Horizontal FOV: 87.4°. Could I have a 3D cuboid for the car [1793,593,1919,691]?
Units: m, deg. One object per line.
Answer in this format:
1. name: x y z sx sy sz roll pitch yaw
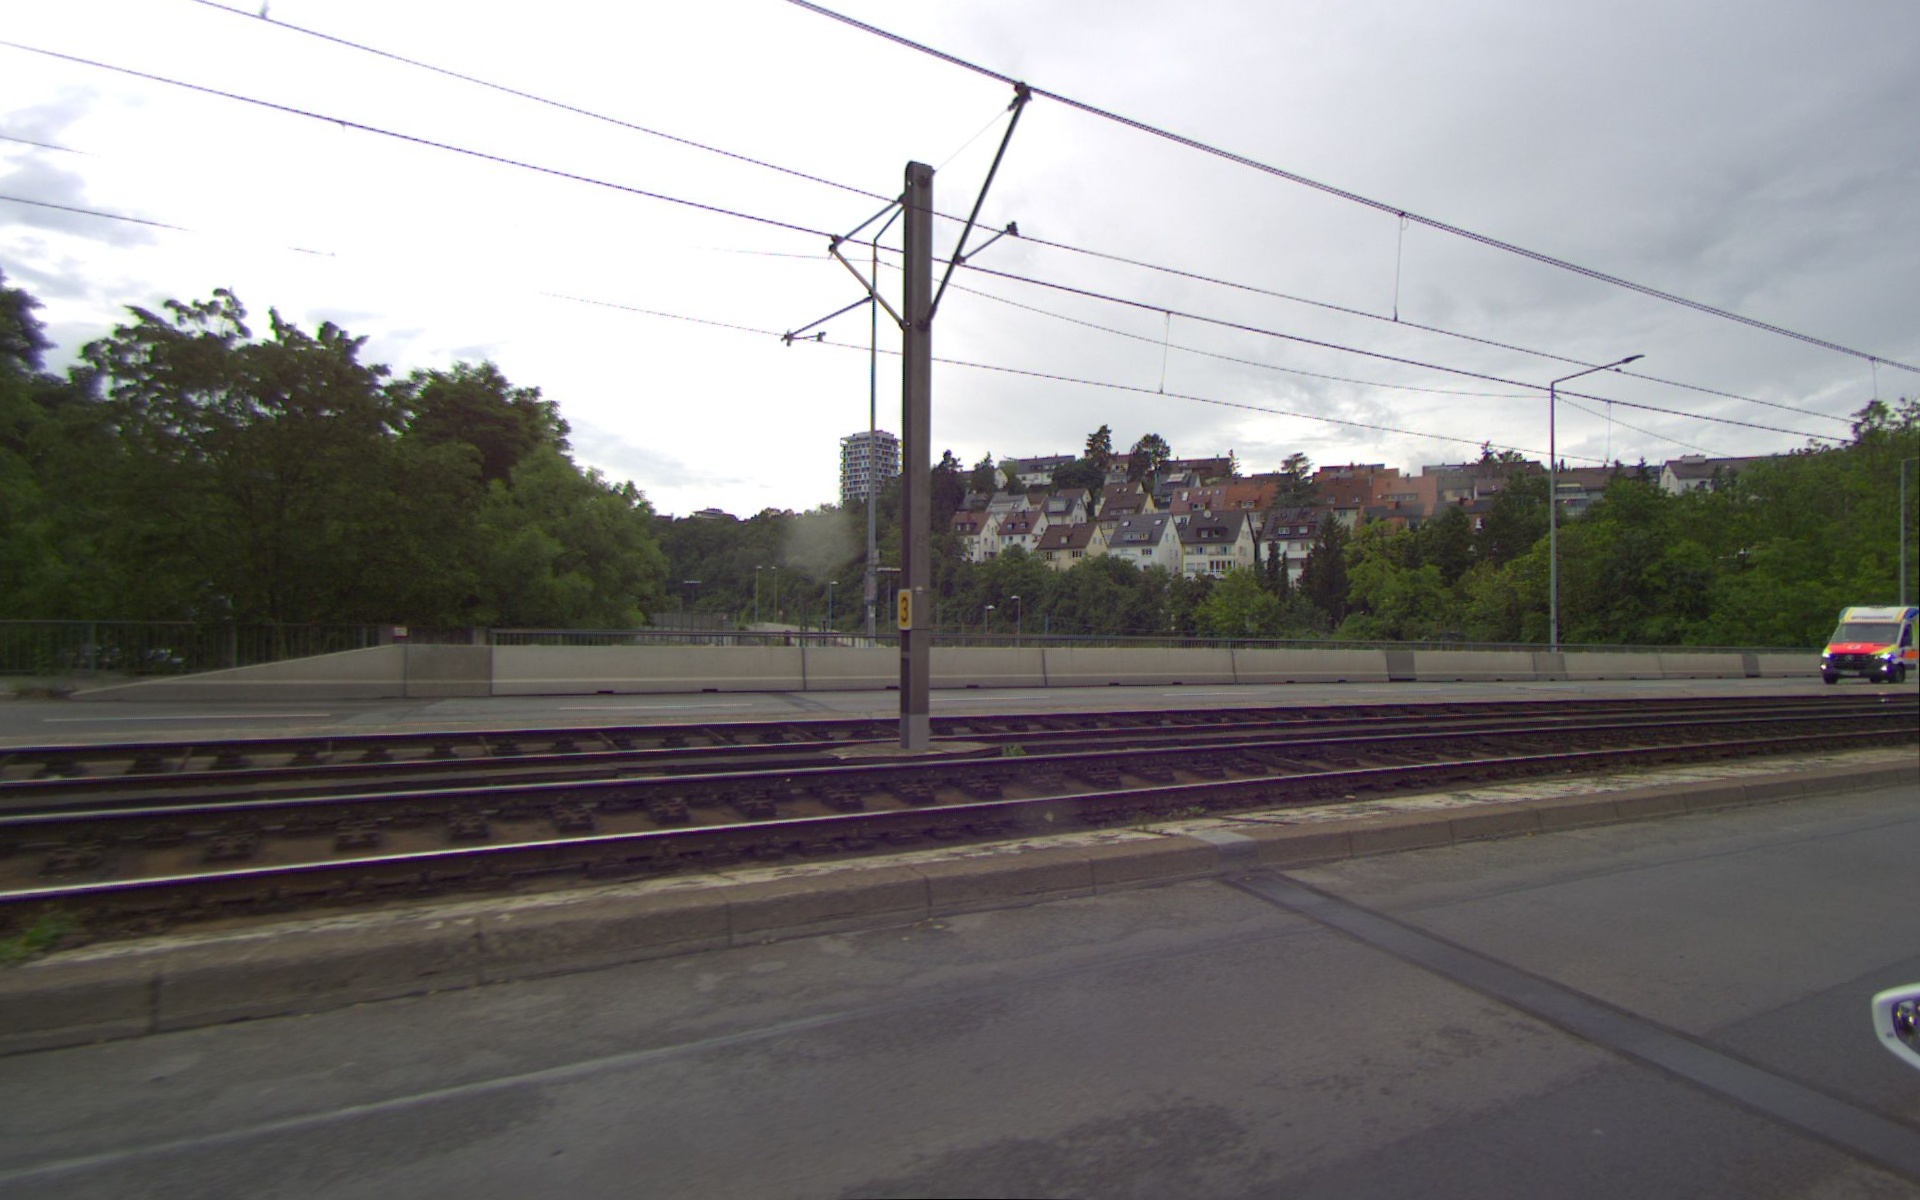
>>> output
1. car: 31.987 1.459 35.001 6.279 3.157 2.379 2 -1 -29
